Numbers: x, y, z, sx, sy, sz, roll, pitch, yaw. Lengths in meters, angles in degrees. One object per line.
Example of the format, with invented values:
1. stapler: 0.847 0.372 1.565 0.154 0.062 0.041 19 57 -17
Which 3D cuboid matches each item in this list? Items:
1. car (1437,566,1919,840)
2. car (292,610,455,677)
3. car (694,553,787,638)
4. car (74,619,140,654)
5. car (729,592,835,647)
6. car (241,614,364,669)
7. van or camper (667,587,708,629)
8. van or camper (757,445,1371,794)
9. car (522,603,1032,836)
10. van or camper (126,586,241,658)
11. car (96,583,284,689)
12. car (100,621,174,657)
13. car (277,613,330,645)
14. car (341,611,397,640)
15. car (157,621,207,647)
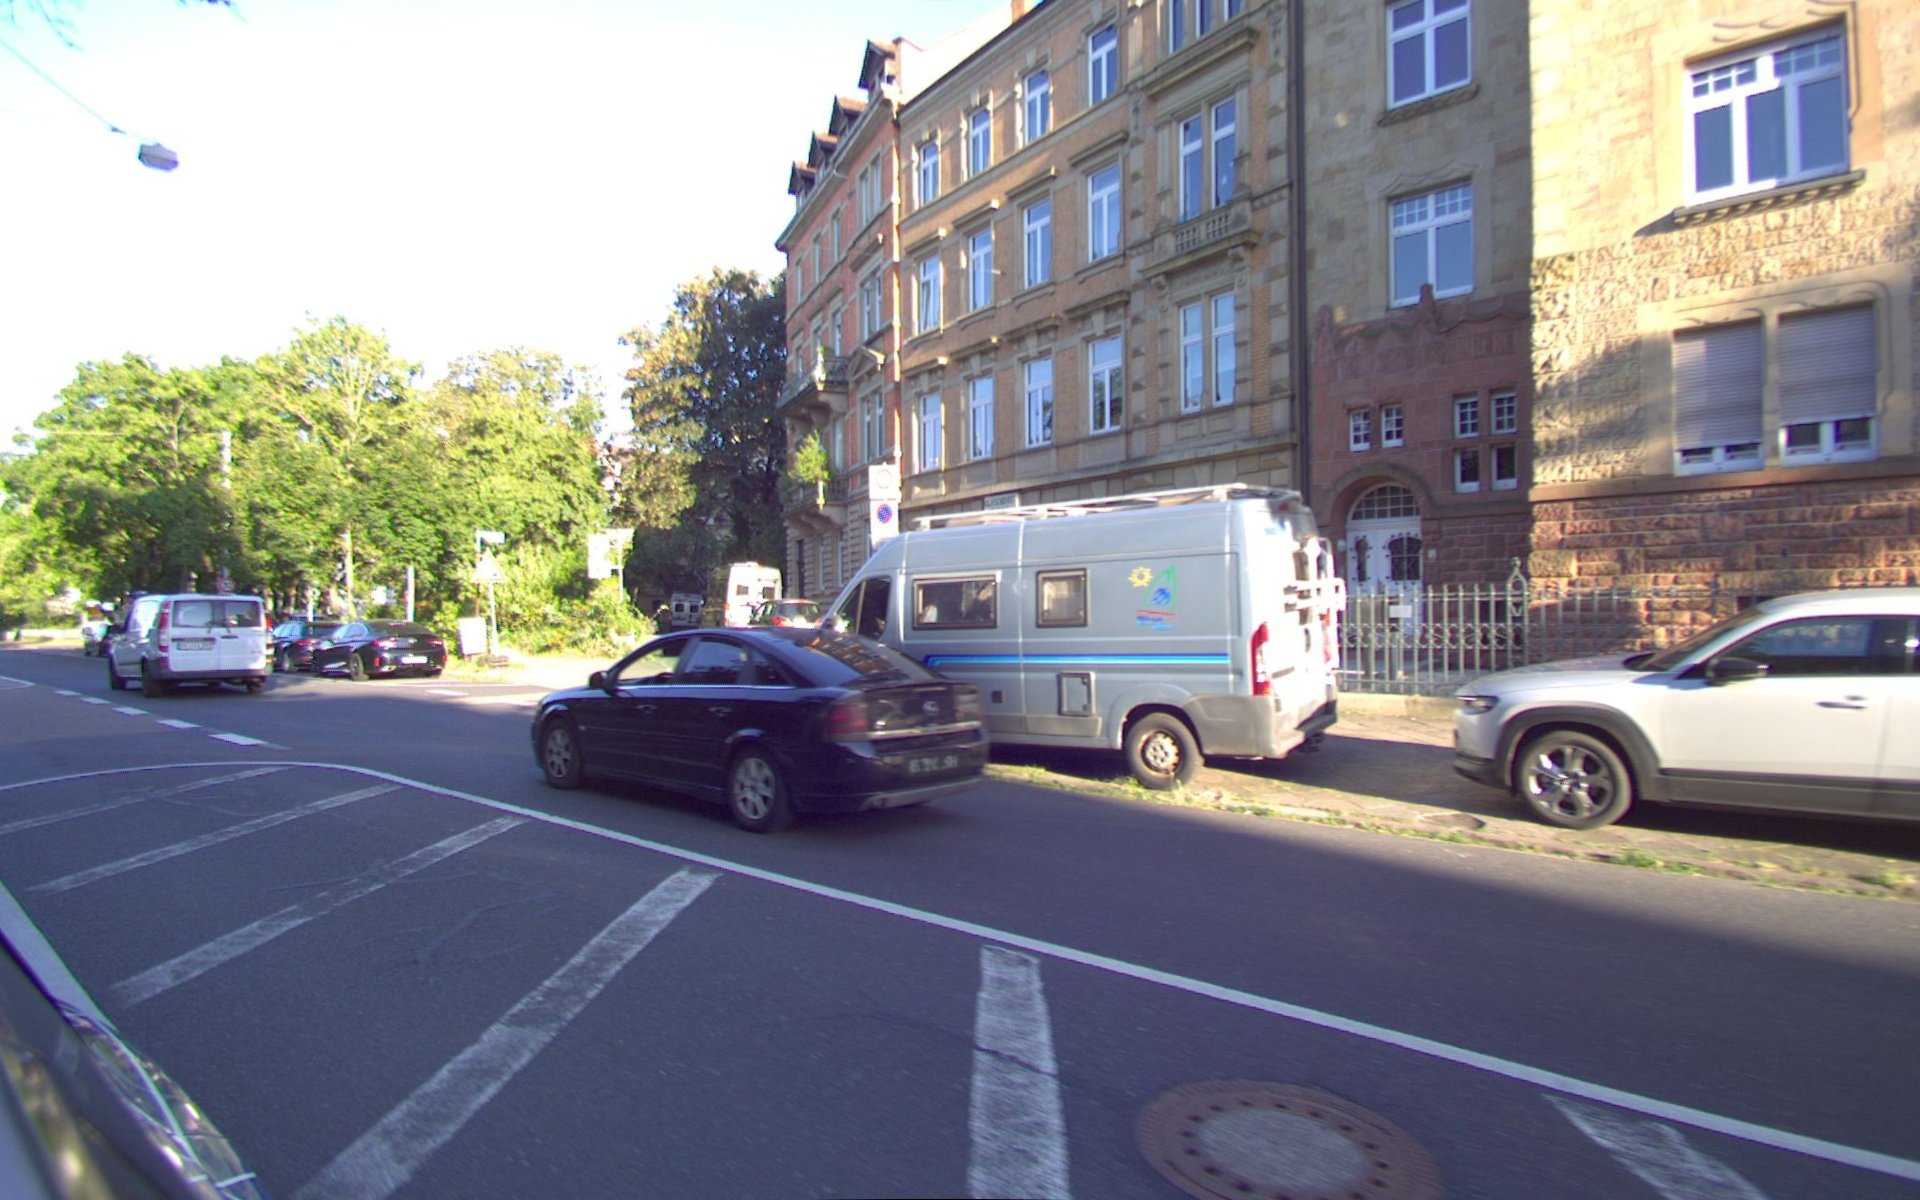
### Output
1. car: 5.666 0.571 6.623 4.298 1.546 1.729 -2 0 40
2. car: -14.489 1.024 24.882 4.825 1.495 1.973 -2 -2 40
3. car: -7.839 -0.031 35.755 2.090 2.760 5.327 1 -2 -25
4. car: -39.192 1.655 46.463 4.541 1.518 1.607 -2 -2 41
5. car: -5.489 0.619 30.793 1.965 1.549 4.577 1 -2 -26
6. car: -18.911 1.155 29.037 4.621 1.456 1.718 -2 -2 40
7. van or camper: -16.410 0.565 61.170 2.174 2.371 5.322 1 -2 -12
8. van or camper: 0.774 0.174 10.386 6.027 2.688 1.976 -2 2 37
9. car: -1.655 0.791 8.172 4.302 1.397 1.741 -2 -3 41
10. van or camper: -29.253 0.864 38.044 6.299 2.487 2.070 -2 -3 40
11. car: -15.403 0.711 20.125 5.167 1.845 1.972 -2 -3 41
12. car: -35.078 1.667 43.107 4.238 1.440 1.612 -2 -3 40
13. car: -50.355 2.230 77.563 5.098 2.306 2.191 -2 -1 43
14. car: -41.458 1.814 70.959 3.992 1.896 1.976 -2 0 36
15. car: -55.557 2.422 72.257 3.992 1.809 1.802 -2 -1 36
